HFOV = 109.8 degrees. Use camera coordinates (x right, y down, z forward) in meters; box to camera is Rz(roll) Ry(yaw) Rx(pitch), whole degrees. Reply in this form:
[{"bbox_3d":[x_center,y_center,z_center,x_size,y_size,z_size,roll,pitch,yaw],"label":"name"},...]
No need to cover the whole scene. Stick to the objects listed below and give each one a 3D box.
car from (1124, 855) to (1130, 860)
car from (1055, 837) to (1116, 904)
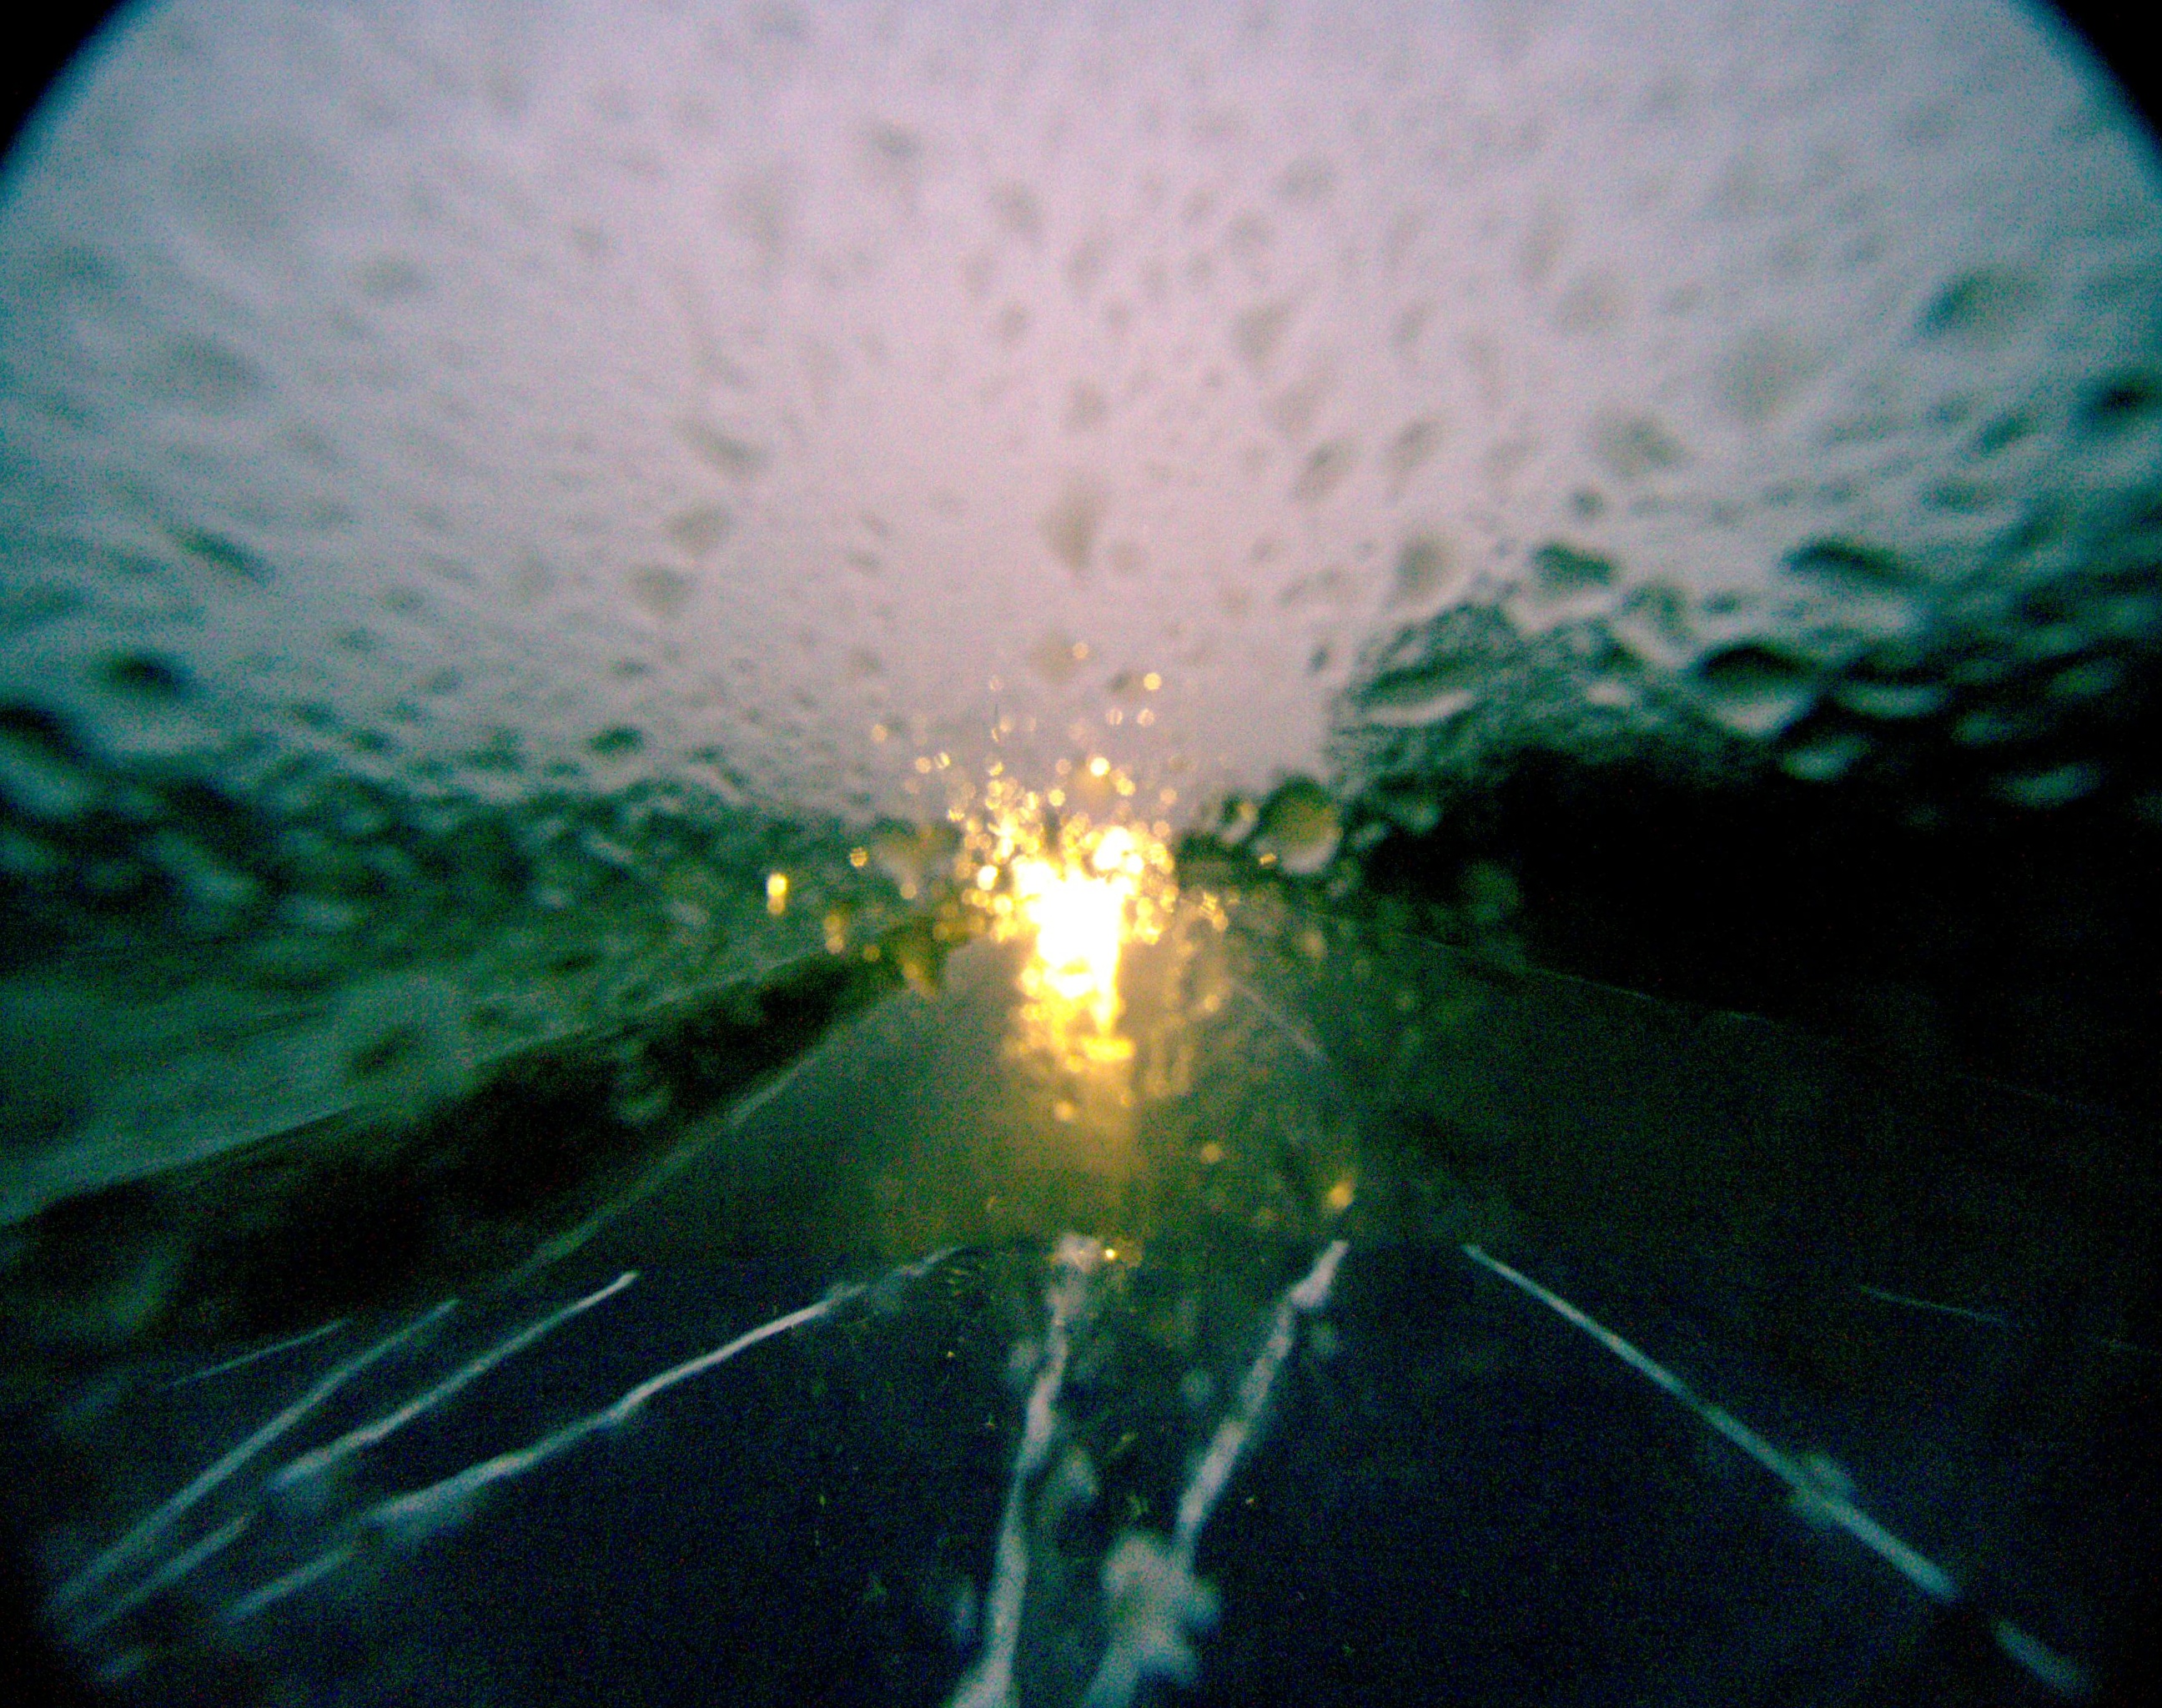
[{"bbox_3d":[14.183,1.113,235.004,1.912,1.549,3.929,-2,0,4],"label":"car"},{"bbox_3d":[0.255,0.536,27.804,1.952,2.195,4.535,-2,0,3],"label":"car"}]
